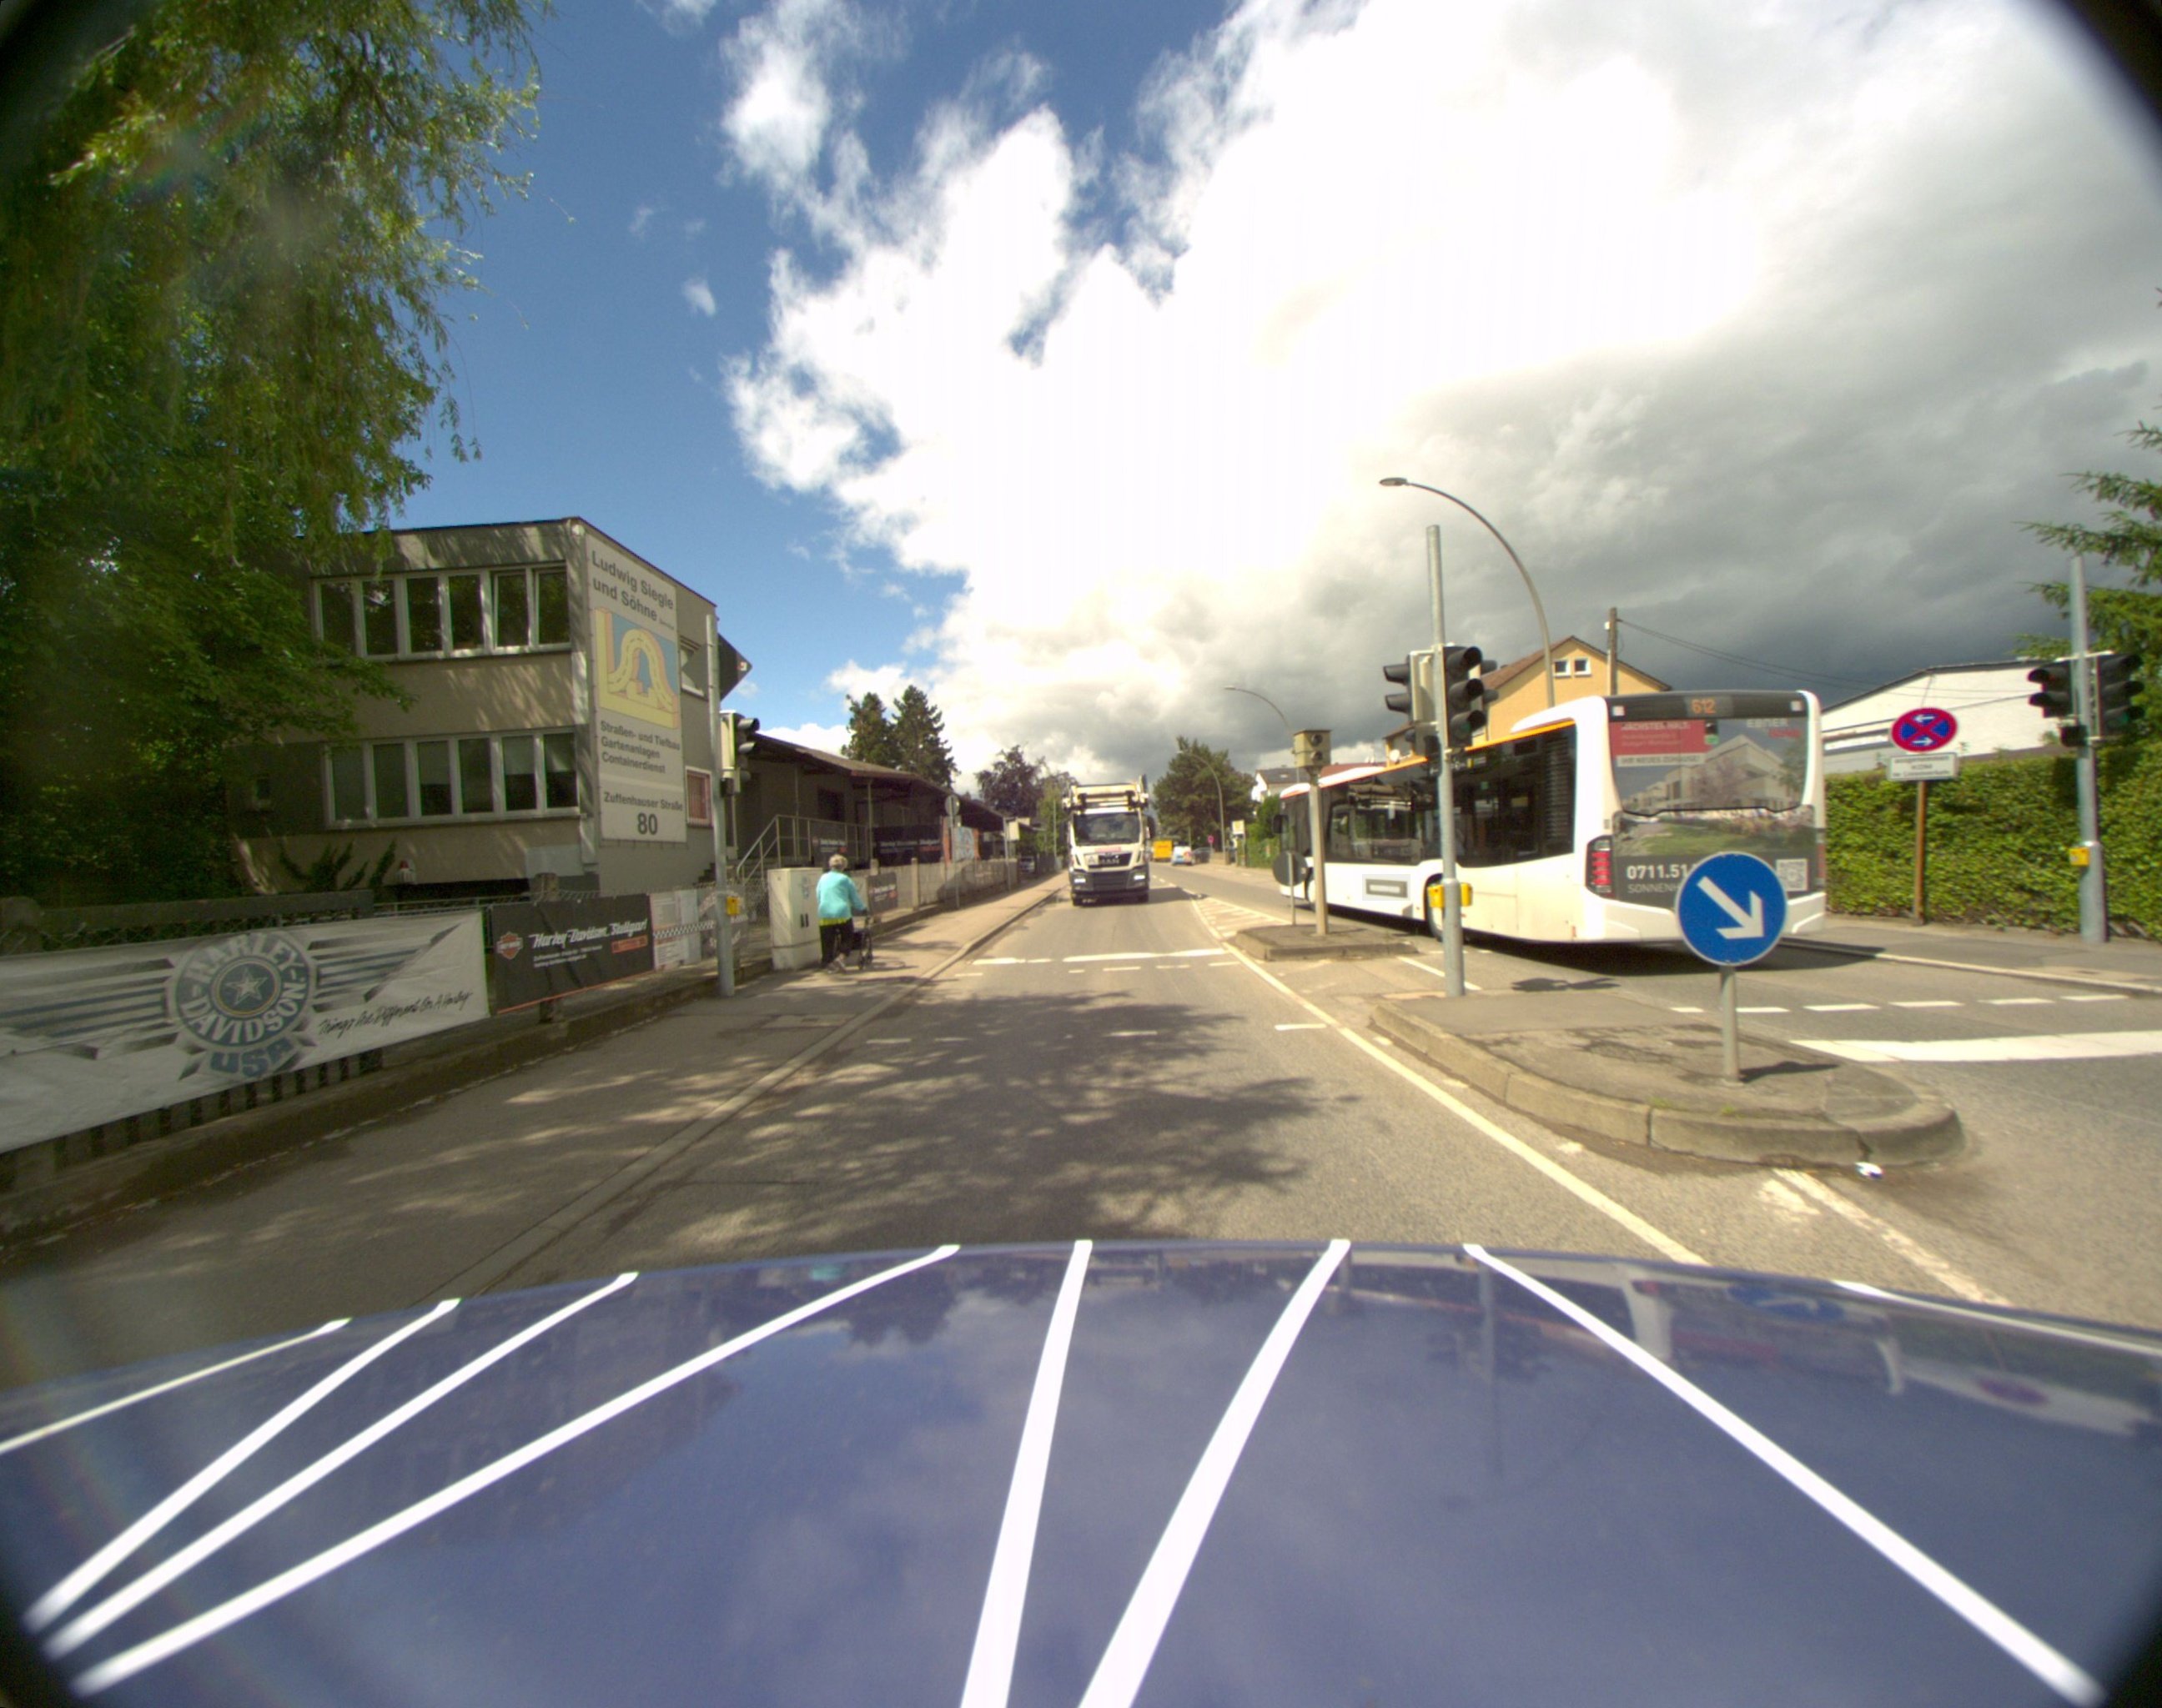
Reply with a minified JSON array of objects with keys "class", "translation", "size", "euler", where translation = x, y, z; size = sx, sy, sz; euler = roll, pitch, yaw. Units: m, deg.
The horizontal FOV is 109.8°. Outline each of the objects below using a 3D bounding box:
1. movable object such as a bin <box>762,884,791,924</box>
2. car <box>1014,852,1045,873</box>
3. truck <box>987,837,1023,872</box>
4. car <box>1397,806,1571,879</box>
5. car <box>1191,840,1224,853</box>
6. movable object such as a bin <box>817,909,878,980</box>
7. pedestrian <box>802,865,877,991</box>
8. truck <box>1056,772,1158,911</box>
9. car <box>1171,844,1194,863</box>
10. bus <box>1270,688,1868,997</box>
[{"class":"movable object such as a bin","translation":[-7.598,1.244,18.971],"size":[0.482,0.925,0.474],"euler":[-3,1,2]},{"class":"car","translation":[-4.302,0.704,63.798],"size":[1.862,1.521,5.203],"euler":[-3,1,4]},{"class":"truck","translation":[-6.553,0.027,66.175],"size":[2.091,2.812,5.203],"euler":[-3,1,4]},{"class":"car","translation":[15.149,-0.419,28.859],"size":[5.362,2.371,2.105],"euler":[-3,1,5]},{"class":"car","translation":[19.586,-1.136,118.070],"size":[4.734,1.669,2.218],"euler":[-3,1,2]},{"class":"movable object such as a bin","translation":[-3.252,1.252,10.648],"size":[0.671,0.866,0.748],"euler":[-3,1,-10]},{"class":"pedestrian","translation":[-3.163,0.940,10.021],"size":[0.734,1.534,0.840],"euler":[-3,1,-9]},{"class":"truck","translation":[1.041,-0.405,26.392],"size":[2.664,3.789,9.816],"euler":[-3,1,4]},{"class":"car","translation":[9.790,-0.096,73.605],"size":[1.729,1.670,4.000],"euler":[-3,1,1]},{"class":"bus","translation":[6.467,-0.182,13.789],"size":[2.726,3.013,12.262],"euler":[-2,1,-1]}]
